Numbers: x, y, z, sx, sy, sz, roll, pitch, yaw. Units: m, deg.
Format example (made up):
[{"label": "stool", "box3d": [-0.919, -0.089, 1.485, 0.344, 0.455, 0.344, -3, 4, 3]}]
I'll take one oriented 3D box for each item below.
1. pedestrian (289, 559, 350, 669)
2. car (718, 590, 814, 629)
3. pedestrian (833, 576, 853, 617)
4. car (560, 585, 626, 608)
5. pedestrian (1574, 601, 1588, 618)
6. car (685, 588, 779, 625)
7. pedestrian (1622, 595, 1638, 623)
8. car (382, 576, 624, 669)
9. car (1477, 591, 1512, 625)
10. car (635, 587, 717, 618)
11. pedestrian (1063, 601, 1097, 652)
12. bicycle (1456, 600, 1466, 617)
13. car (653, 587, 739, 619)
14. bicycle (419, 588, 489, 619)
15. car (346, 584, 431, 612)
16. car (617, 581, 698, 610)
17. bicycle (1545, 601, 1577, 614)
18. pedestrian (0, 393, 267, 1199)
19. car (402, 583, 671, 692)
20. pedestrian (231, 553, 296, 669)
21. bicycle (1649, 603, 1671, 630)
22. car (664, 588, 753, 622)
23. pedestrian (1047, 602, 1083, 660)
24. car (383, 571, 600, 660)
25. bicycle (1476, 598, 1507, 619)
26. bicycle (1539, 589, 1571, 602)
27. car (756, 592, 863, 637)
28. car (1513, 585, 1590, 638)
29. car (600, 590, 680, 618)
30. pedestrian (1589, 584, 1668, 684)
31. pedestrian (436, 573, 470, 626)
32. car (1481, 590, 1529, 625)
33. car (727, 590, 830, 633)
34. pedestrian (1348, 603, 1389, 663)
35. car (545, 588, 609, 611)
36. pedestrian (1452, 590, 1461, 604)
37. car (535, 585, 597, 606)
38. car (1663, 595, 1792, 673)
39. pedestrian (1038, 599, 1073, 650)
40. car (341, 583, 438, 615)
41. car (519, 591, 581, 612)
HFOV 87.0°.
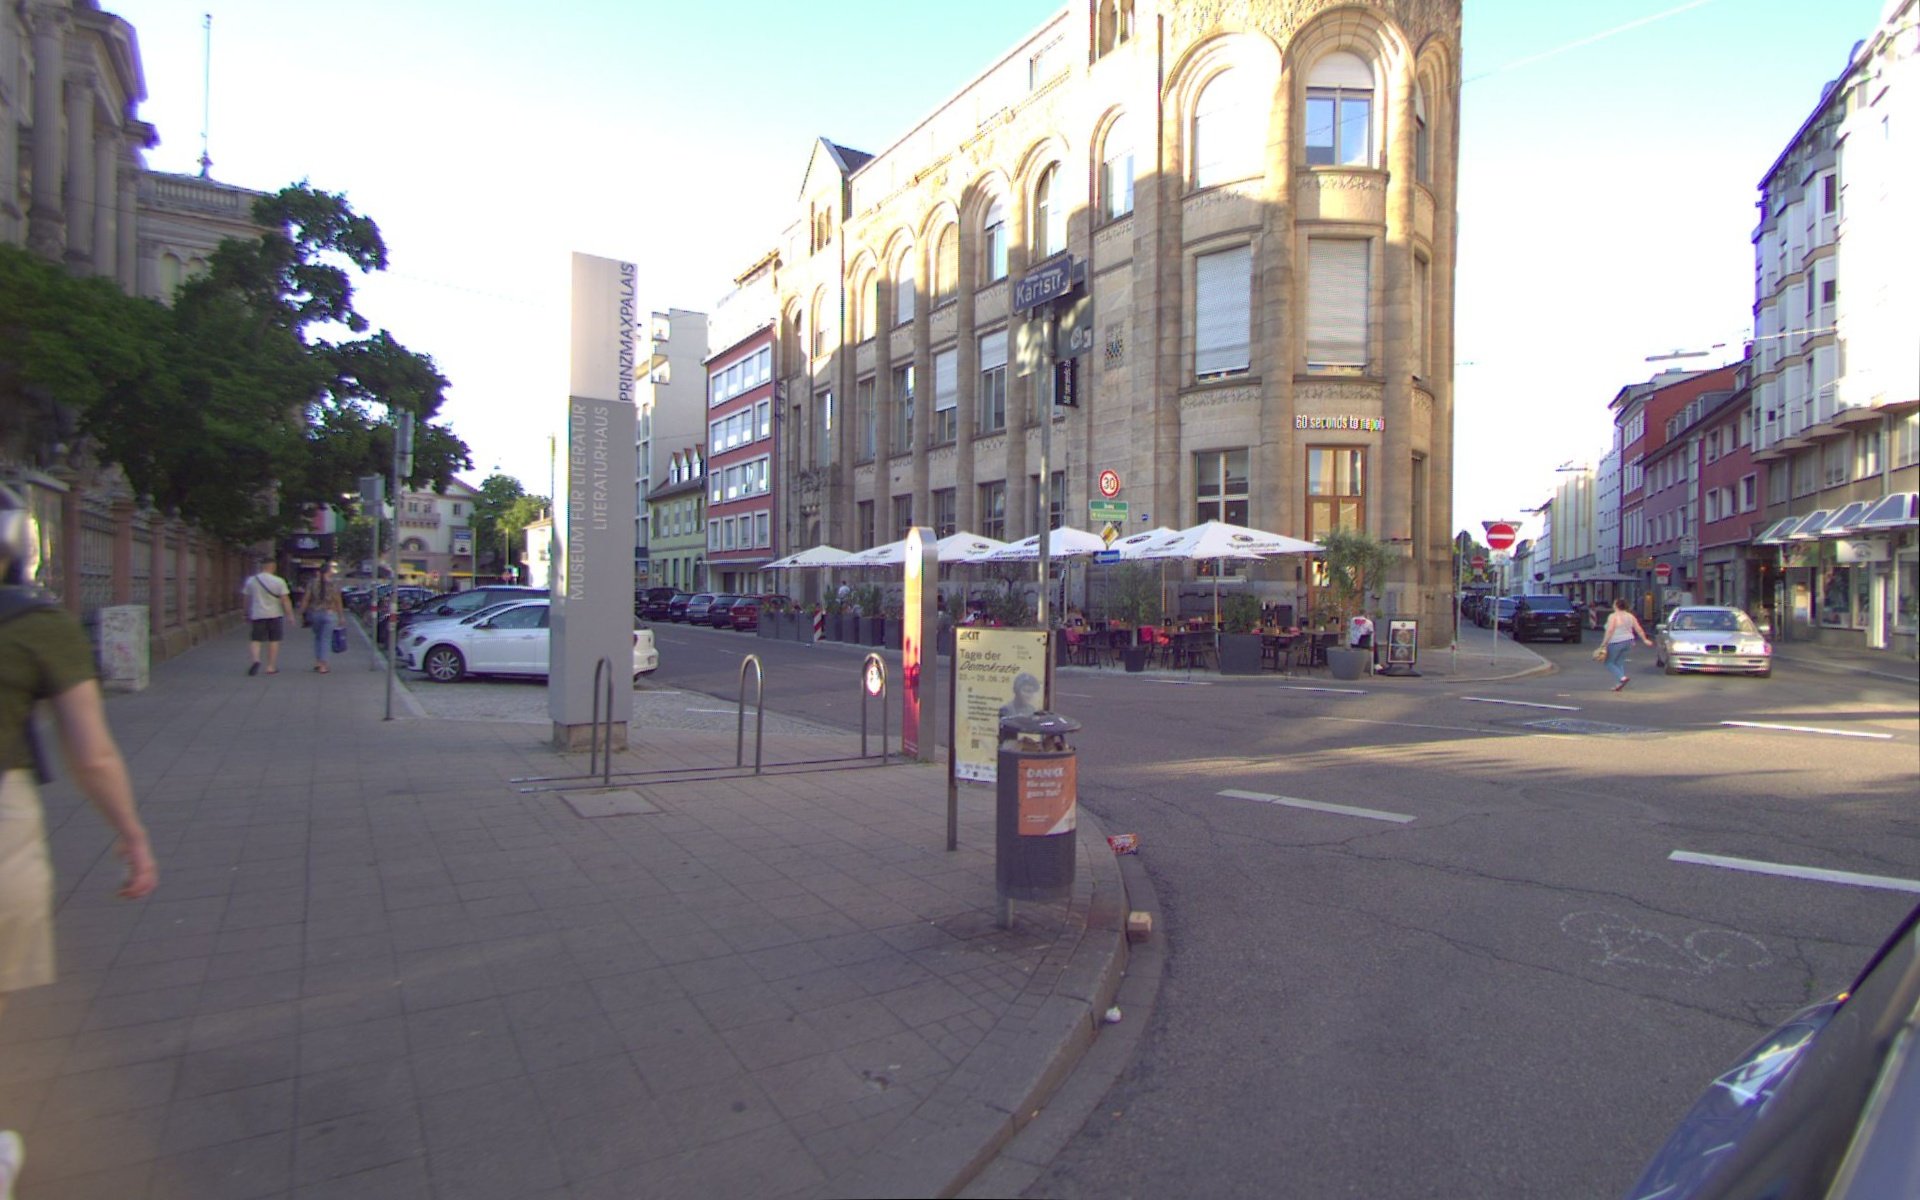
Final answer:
[{"label": "pedestrian", "box3d": [-10.135, 0.222, 16.011, 0.703, 1.691, 0.632, 0, -1, 44]}, {"label": "car", "box3d": [-7.570, 0.317, 39.937, 1.737, 1.430, 4.035, 0, 1, 25]}, {"label": "pedestrian", "box3d": [-4.999, -0.155, 43.322, 0.618, 1.752, 0.597, 0, 0, -38]}, {"label": "car", "box3d": [-23.875, -0.233, 65.990, 1.737, 1.430, 4.043, 0, 1, 25]}, {"label": "pedestrian", "box3d": [38.260, 0.586, 62.358, 0.626, 1.081, 0.557, 0, 0, 19]}, {"label": "car", "box3d": [-9.466, 0.231, 42.347, 1.737, 1.430, 4.148, 0, 1, 25]}, {"label": "pedestrian", "box3d": [36.702, 0.495, 55.442, 0.604, 1.491, 0.544, 0, 0, 19]}, {"label": "car", "box3d": [-8.849, 0.417, 19.865, 3.921, 1.545, 1.757, 3, 0, -4]}, {"label": "car", "box3d": [30.036, 0.425, 56.933, 1.659, 1.829, 4.199, 0, 0, 27]}, {"label": "car", "box3d": [-13.951, 0.103, 49.939, 1.737, 1.430, 4.072, 0, 1, 25]}, {"label": "pedestrian", "box3d": [2.887, 0.635, 24.386, 0.589, 1.204, 0.574, 1, 0, -29]}, {"label": "bicycle", "box3d": [32.997, 0.551, 66.675, 0.515, 1.103, 1.736, 5, 2, 26]}, {"label": "car", "box3d": [-12.420, 0.126, 47.880, 1.737, 1.430, 4.110, 0, 1, 25]}, {"label": "bicycle", "box3d": [-18.754, 0.118, 37.522, 2.259, 1.104, 0.716, -1, 1, -36]}, {"label": "car", "box3d": [-30.775, -0.119, 54.528, 3.921, 1.430, 1.757, -1, 1, -32]}, {"label": "car", "box3d": [-15.572, -0.256, 52.332, 1.737, 1.430, 4.164, 0, 1, 25]}, {"label": "bicycle", "box3d": [54.163, 0.683, 91.243, 2.465, 1.193, 0.775, 0, 0, 33]}, {"label": "pedestrian", "box3d": [-2.005, 0.502, 2.033, 0.626, 1.745, 0.845, 0, 0, 2]}, {"label": "car", "box3d": [-7.165, 0.612, 17.426, 3.834, 1.464, 1.757, 5, 0, -4]}, {"label": "pedestrian", "box3d": [-10.524, 0.167, 15.286, 0.703, 1.691, 0.632, 0, -1, 44]}, {"label": "bicycle", "box3d": [32.087, 0.739, 46.374, 0.540, 1.207, 1.825, 0, 0, 26]}, {"label": "car", "box3d": [-11.126, 0.200, 45.019, 1.737, 1.430, 3.997, 0, 1, 25]}, {"label": "pedestrian", "box3d": [2.323, 0.679, 22.383, 0.677, 1.261, 0.597, 0, 0, 18]}, {"label": "car", "box3d": [-10.139, 0.307, 22.077, 3.928, 1.742, 1.754, 2, 1, 4]}, {"label": "bicycle", "box3d": [37.615, 0.605, 71.669, 1.858, 1.318, 0.591, 5, 2, 27]}, {"label": "bicycle", "box3d": [53.053, -0.416, 90.216, 2.465, 1.193, 0.775, 0, 0, 33]}, {"label": "car", "box3d": [-5.071, 0.440, 34.604, 1.737, 1.430, 4.035, 0, 1, 25]}, {"label": "car", "box3d": [21.976, 0.391, 37.782, 1.979, 1.806, 4.892, 1, 0, 25]}, {"label": "car", "box3d": [-17.509, 0.181, 55.581, 1.894, 1.430, 4.164, 0, 1, 25]}, {"label": "pedestrian", "box3d": [11.138, 0.554, 16.881, 0.789, 1.633, 0.735, 0, 0, -2]}, {"label": "pedestrian", "box3d": [-17.297, -0.014, 34.514, 0.954, 1.772, 1.003, 0, 0, -30]}, {"label": "car", "box3d": [27.861, 0.364, 51.819, 1.759, 1.687, 3.968, 1, 1, 23]}, {"label": "car", "box3d": [-6.569, 0.377, 37.114, 1.737, 1.430, 4.072, 0, 1, 25]}, {"label": "pedestrian", "box3d": [8.481, 0.664, 20.992, 0.604, 1.204, 0.811, 0, 0, 37]}, {"label": "car", "box3d": [-25.770, -0.055, 68.275, 1.737, 1.430, 3.999, 0, 1, 25]}, {"label": "pedestrian", "box3d": [45.344, -0.272, 92.351, 0.730, 1.258, 0.640, 0, 0, 28]}, {"label": "car", "box3d": [-27.458, -0.324, 70.586, 1.737, 1.430, 3.977, 0, 1, 25]}, {"label": "car", "box3d": [16.076, 0.636, 21.405, 1.987, 1.440, 4.402, 0, 0, 35]}, {"label": "pedestrian", "box3d": [2.385, 0.602, 25.263, 0.589, 1.261, 0.687, 1, 0, -29]}, {"label": "car", "box3d": [-26.969, -0.060, 47.873, 3.921, 1.430, 1.757, -1, 1, -32]}, {"label": "car", "box3d": [-29.137, 0.060, 72.037, 1.737, 1.430, 3.977, 0, 1, 25]}]
